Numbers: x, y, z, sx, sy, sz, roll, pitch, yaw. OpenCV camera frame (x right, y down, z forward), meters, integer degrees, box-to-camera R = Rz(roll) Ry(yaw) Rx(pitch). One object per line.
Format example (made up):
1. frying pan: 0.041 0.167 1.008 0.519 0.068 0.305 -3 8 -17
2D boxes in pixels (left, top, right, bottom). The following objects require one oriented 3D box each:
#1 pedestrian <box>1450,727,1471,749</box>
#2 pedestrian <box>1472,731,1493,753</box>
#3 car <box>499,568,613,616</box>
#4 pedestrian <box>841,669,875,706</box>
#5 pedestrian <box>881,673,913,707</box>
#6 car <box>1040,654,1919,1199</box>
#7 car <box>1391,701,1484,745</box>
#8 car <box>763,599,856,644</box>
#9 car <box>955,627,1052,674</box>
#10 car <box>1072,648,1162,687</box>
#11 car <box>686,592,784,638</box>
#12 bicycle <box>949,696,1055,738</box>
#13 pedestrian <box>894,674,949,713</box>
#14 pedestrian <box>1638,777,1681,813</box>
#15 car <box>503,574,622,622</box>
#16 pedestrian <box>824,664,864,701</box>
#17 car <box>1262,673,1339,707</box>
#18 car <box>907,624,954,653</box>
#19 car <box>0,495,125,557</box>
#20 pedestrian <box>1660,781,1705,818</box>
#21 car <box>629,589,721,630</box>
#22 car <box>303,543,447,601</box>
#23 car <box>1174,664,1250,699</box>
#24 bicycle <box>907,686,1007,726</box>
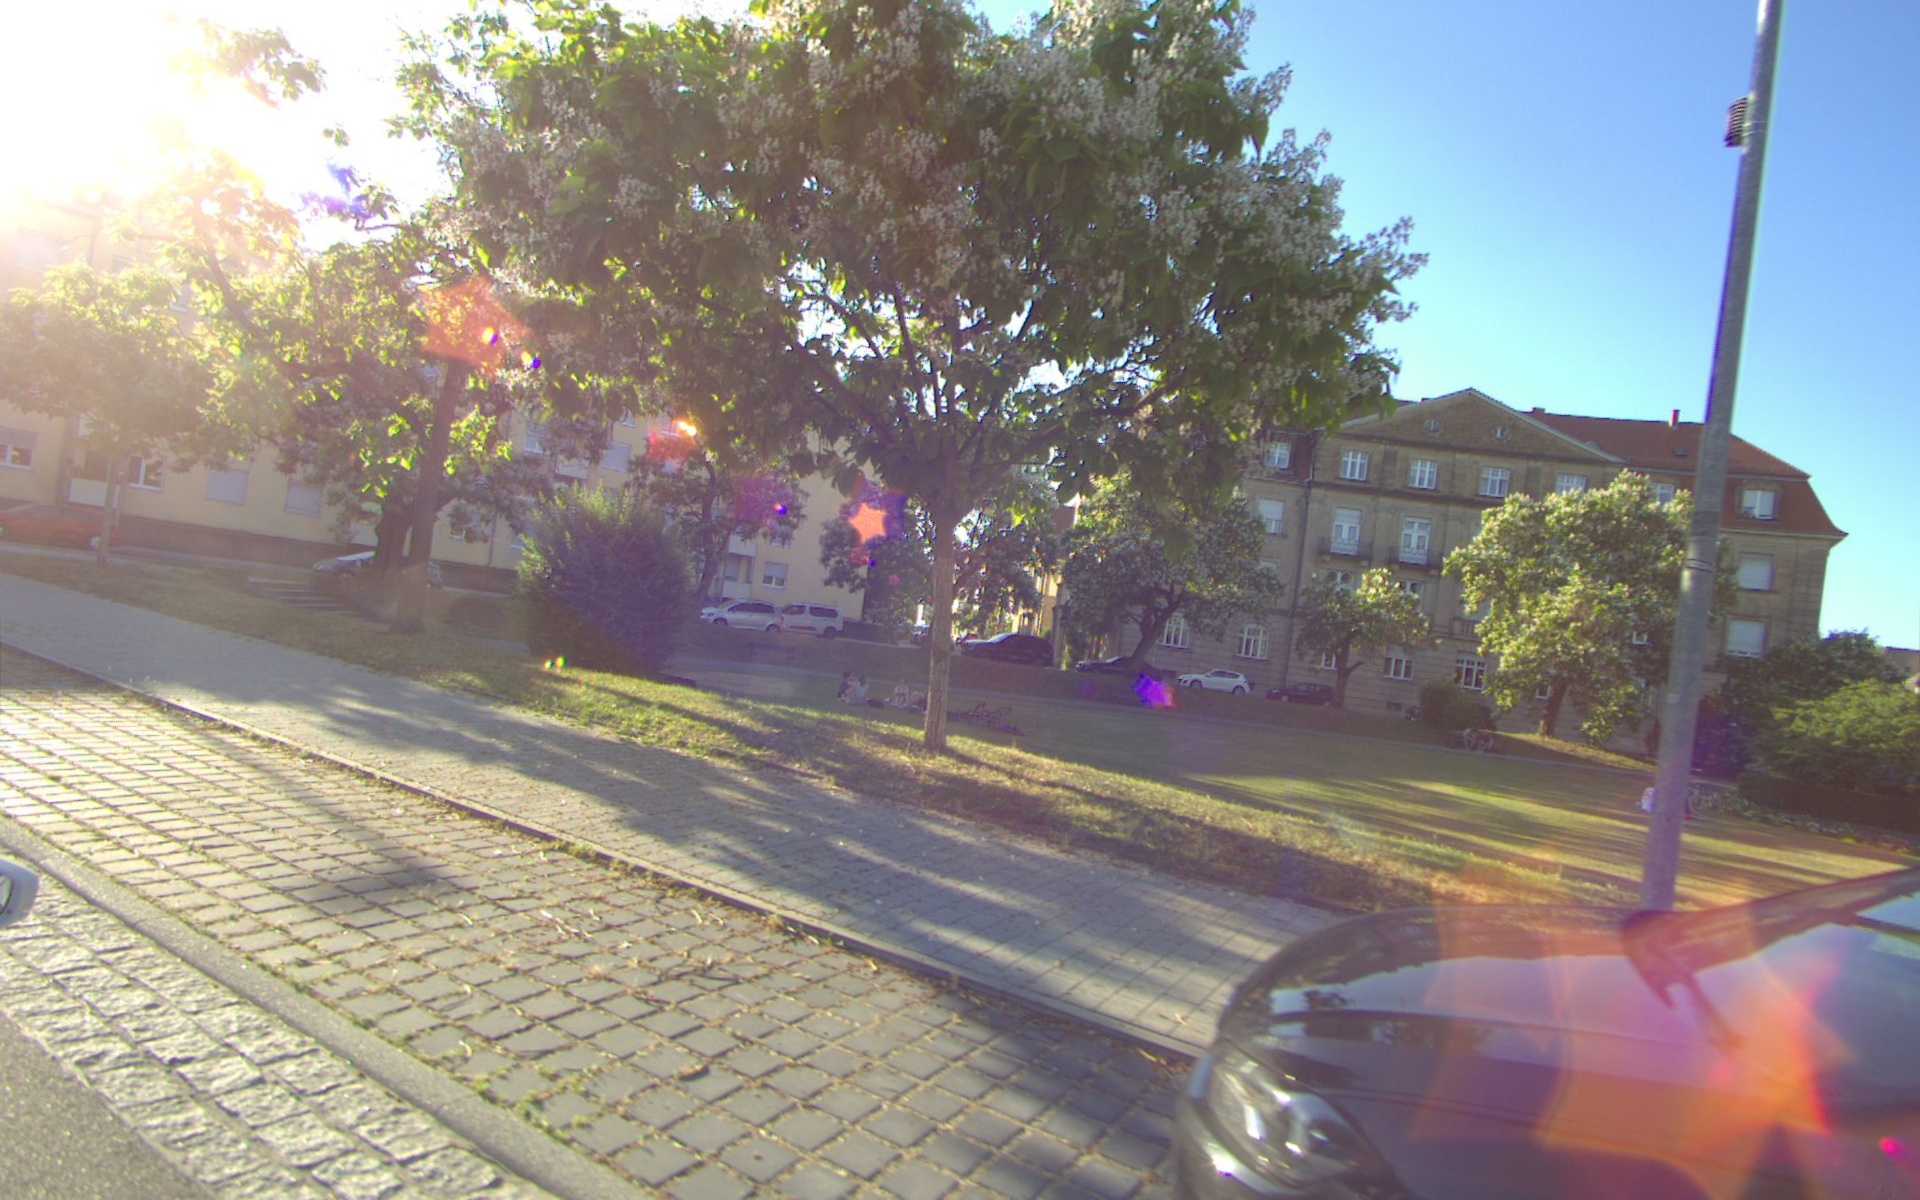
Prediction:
1. pedestrian: 21.840 6.025 43.903 0.655 0.803 0.588 7 -1 20
2. pedestrian: 22.625 6.141 43.579 0.655 0.803 0.588 7 -1 20
3. car: -18.977 -0.352 47.357 4.495 1.587 1.859 9 -2 -41
4. pedestrian: -2.558 2.200 25.256 0.602 0.822 0.473 7 -2 32
5. pedestrian: -1.678 2.393 26.750 0.602 0.822 0.473 7 -2 32
6. car: 2.386 1.121 1.640 4.175 1.481 1.631 7 -1 28
7. car: 26.026 6.695 54.938 3.925 1.725 2.003 8 -2 3
8. car: -8.078 1.151 53.991 4.470 1.766 1.870 8 -1 -24
9. car: 2.194 2.591 51.558 4.457 1.766 1.875 8 -1 -16
10. car: 8.326 3.578 53.509 4.292 1.470 1.879 8 -1 -7
11. car: -10.235 0.698 45.823 3.960 1.570 1.597 9 -2 -32
12. bicycle: 0.980 2.772 23.817 1.756 0.622 1.795 9 -2 -35
13. pedestrian: -1.006 2.437 26.223 1.240 0.822 0.573 9 -2 -14
14. pedestrian: 18.719 5.210 26.920 0.578 0.803 0.666 7 -1 -12
15. car: -16.401 -0.076 41.618 4.177 1.373 1.675 9 -2 -39
16. pedestrian: -3.050 2.171 26.440 0.712 0.822 0.612 7 -2 32
17. car: 20.462 5.404 60.524 3.924 1.470 1.882 7 -1 5
18. car: -2.141 2.727 71.646 1.612 1.668 4.224 8 -2 -25
19. car: -31.365 -2.591 34.151 1.969 1.548 4.199 6 -2 35
20. pedestrian: 18.838 5.204 26.246 0.578 0.803 0.666 7 -1 -12
21. car: -14.252 0.483 50.292 3.959 1.470 1.866 9 -2 -31
22. car: -21.362 -0.995 36.820 4.185 1.479 1.672 9 -2 -44
23. car: 15.085 4.868 60.408 3.926 1.470 1.881 8 -1 0
24. bicycle: -0.086 2.634 25.066 1.756 0.622 1.795 9 -2 -35
